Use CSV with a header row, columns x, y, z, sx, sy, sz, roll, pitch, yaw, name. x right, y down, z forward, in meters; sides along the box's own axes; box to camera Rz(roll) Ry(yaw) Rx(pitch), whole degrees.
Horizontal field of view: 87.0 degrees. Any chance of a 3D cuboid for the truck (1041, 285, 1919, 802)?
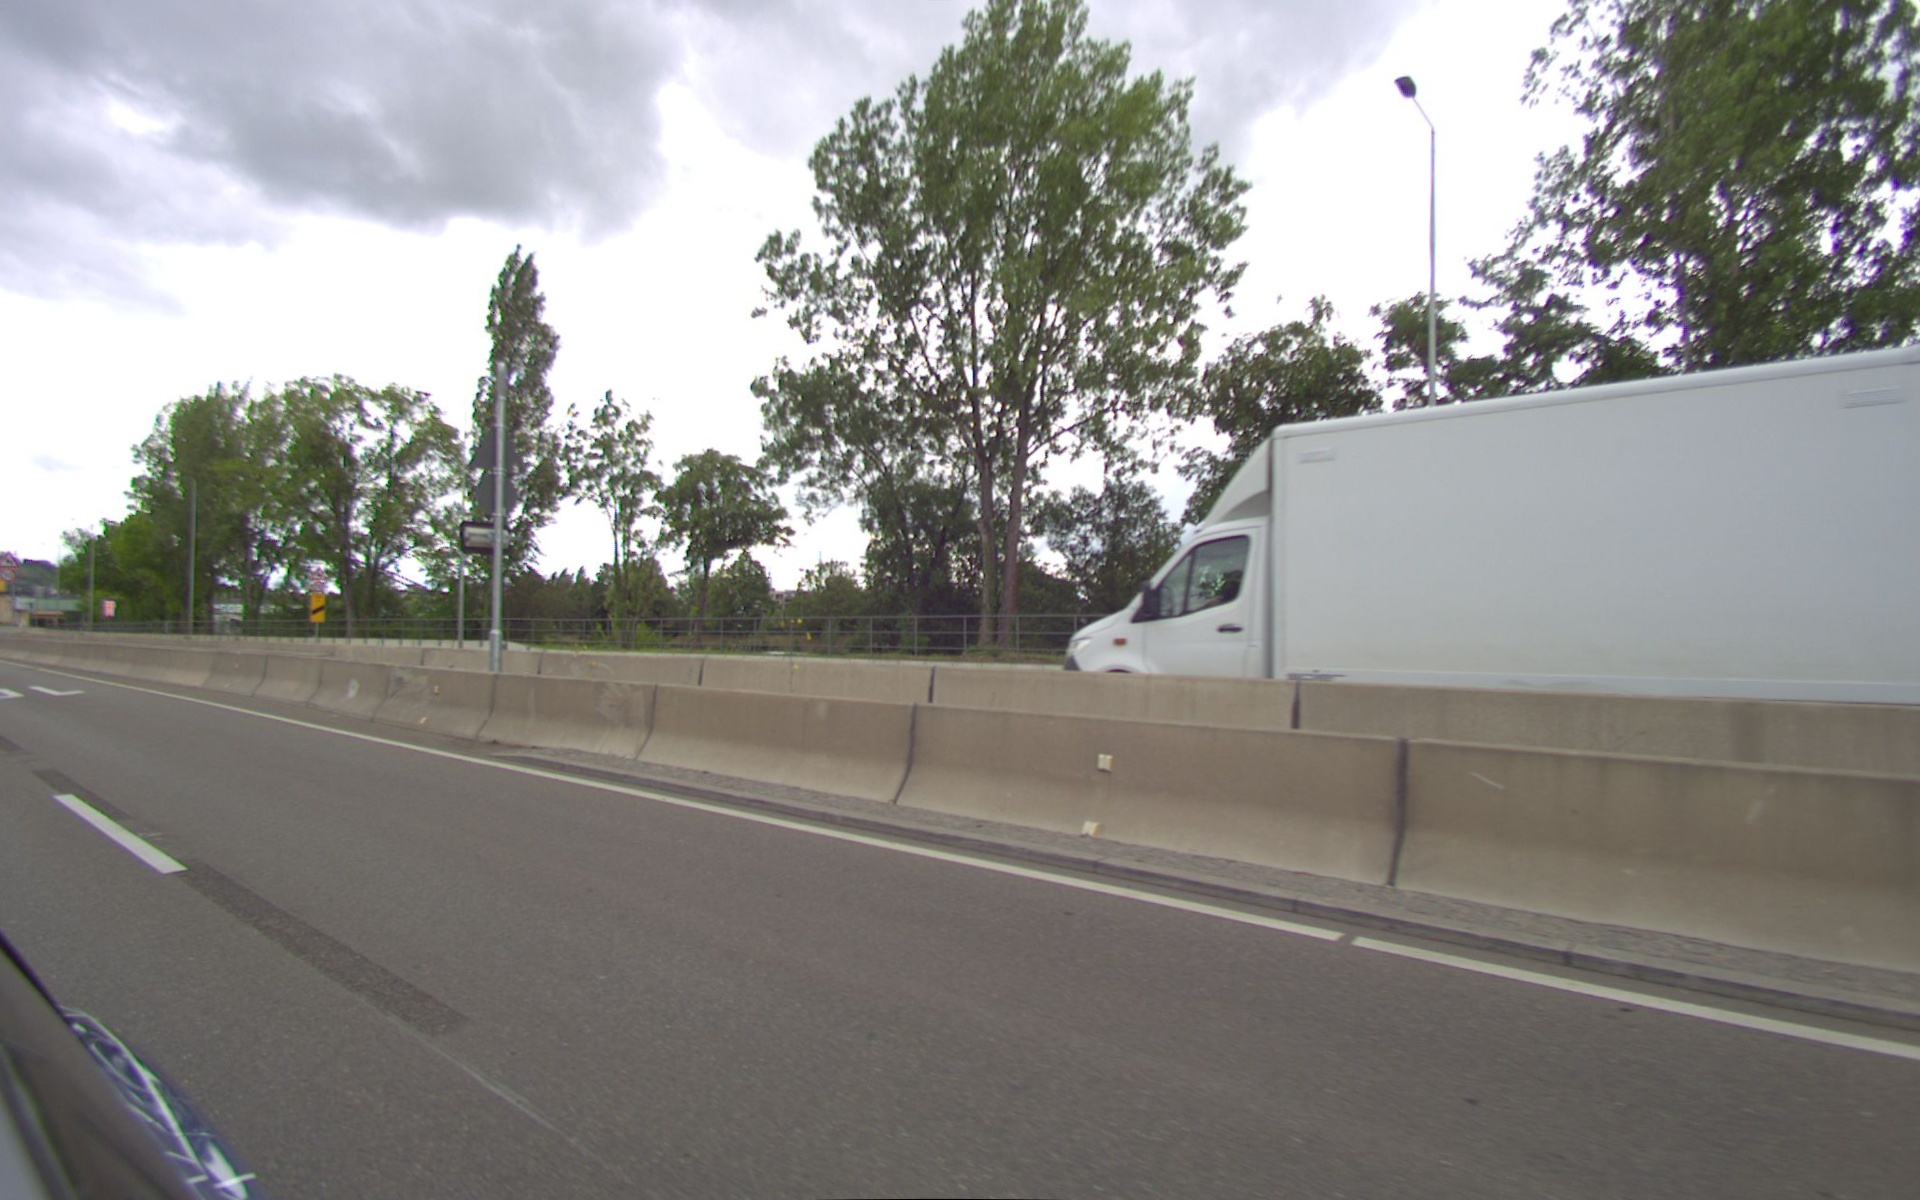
x,y,z,sx,sy,sz,roll,pitch,yaw,name
4.368,-0.295,8.884,7.195,3.130,2.380,-2,0,40,truck
